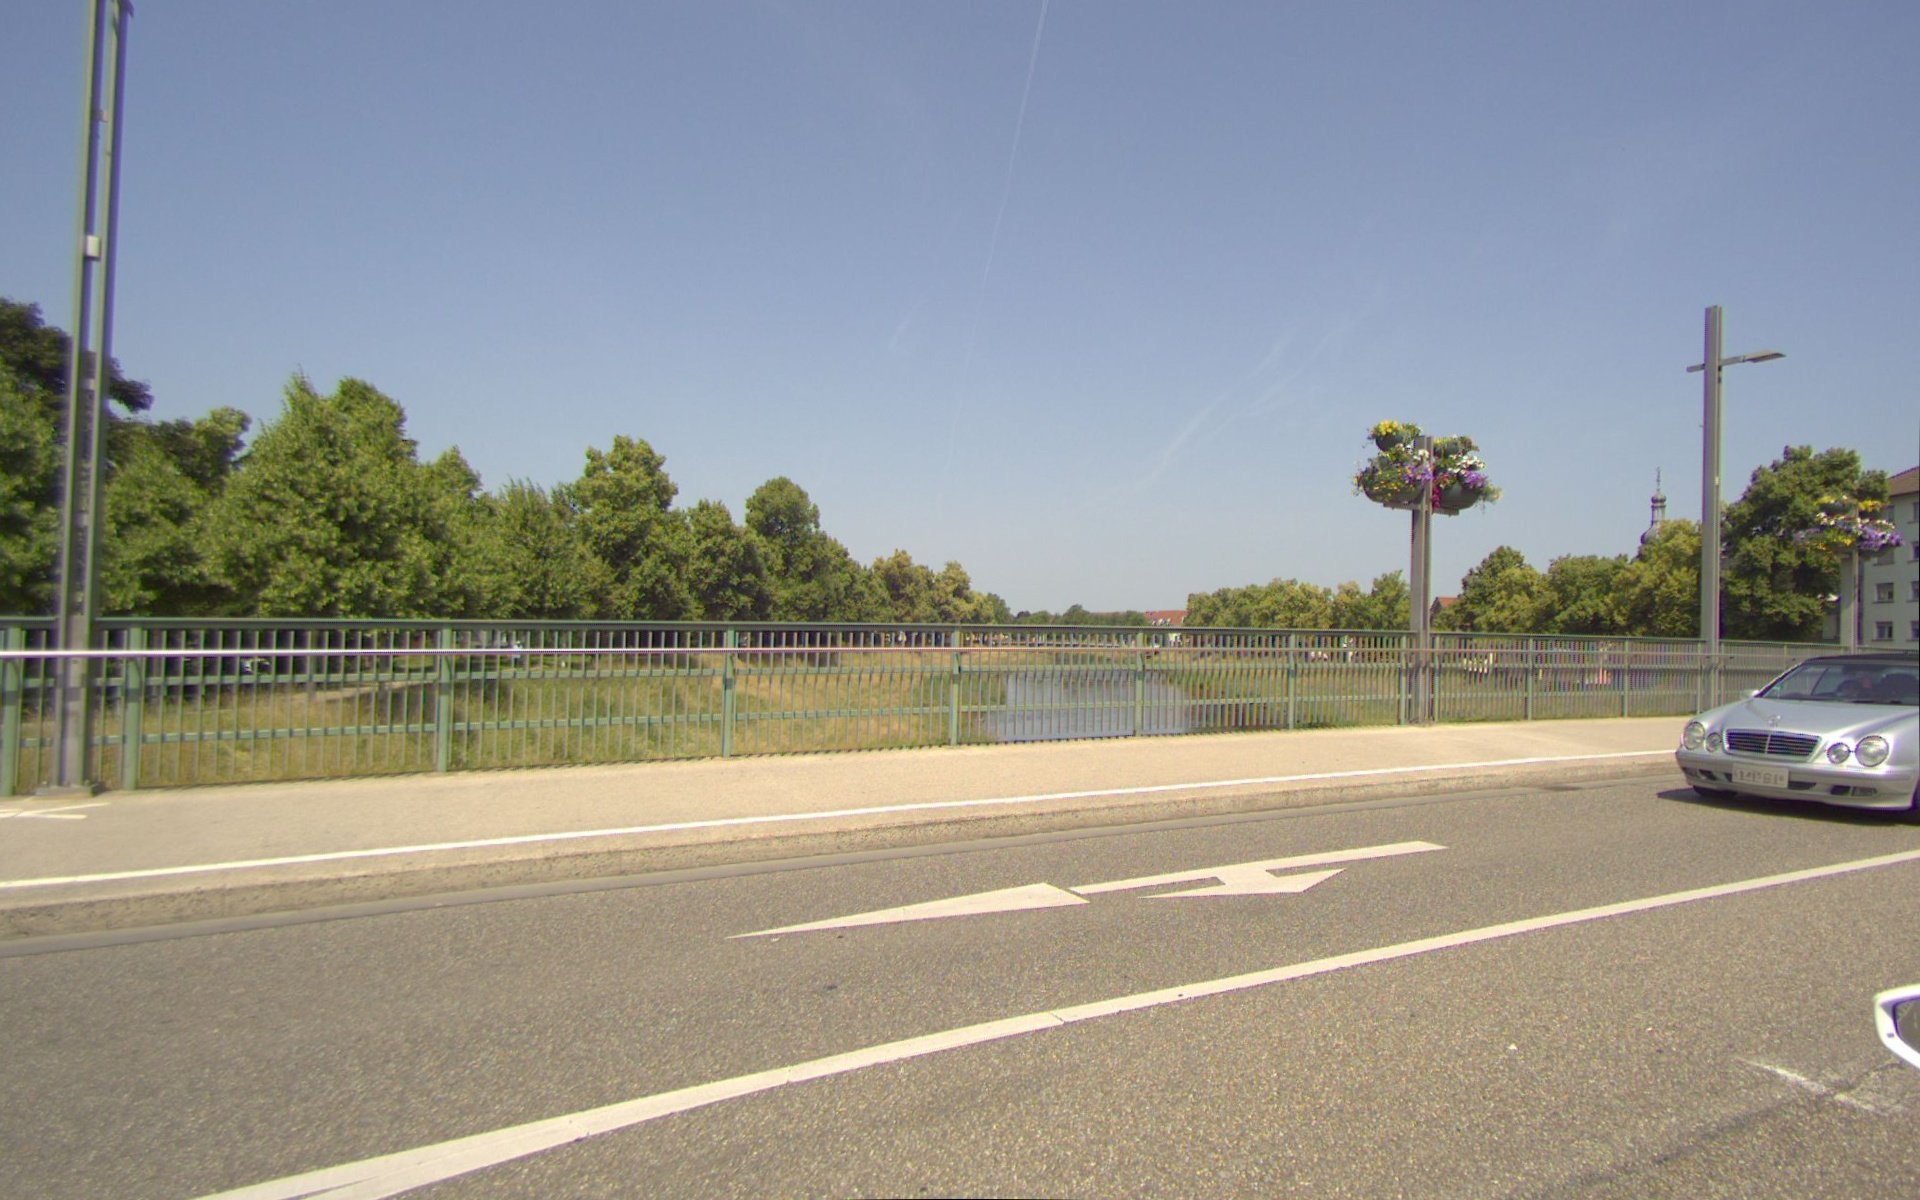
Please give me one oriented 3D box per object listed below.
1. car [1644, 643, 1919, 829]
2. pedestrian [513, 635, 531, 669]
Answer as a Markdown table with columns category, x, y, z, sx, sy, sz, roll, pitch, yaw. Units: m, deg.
| category | x | y | z | sx | sy | sz | roll | pitch | yaw |
| --- | --- | --- | --- | --- | --- | --- | --- | --- | --- |
| car | 8.553 | 1.158 | 9.369 | 4.399 | 1.376 | 1.692 | 3 | -2 | -27 |
| pedestrian | -27.153 | 3.224 | 62.282 | 0.873 | 2.040 | 0.720 | 3 | -1 | -30 |
